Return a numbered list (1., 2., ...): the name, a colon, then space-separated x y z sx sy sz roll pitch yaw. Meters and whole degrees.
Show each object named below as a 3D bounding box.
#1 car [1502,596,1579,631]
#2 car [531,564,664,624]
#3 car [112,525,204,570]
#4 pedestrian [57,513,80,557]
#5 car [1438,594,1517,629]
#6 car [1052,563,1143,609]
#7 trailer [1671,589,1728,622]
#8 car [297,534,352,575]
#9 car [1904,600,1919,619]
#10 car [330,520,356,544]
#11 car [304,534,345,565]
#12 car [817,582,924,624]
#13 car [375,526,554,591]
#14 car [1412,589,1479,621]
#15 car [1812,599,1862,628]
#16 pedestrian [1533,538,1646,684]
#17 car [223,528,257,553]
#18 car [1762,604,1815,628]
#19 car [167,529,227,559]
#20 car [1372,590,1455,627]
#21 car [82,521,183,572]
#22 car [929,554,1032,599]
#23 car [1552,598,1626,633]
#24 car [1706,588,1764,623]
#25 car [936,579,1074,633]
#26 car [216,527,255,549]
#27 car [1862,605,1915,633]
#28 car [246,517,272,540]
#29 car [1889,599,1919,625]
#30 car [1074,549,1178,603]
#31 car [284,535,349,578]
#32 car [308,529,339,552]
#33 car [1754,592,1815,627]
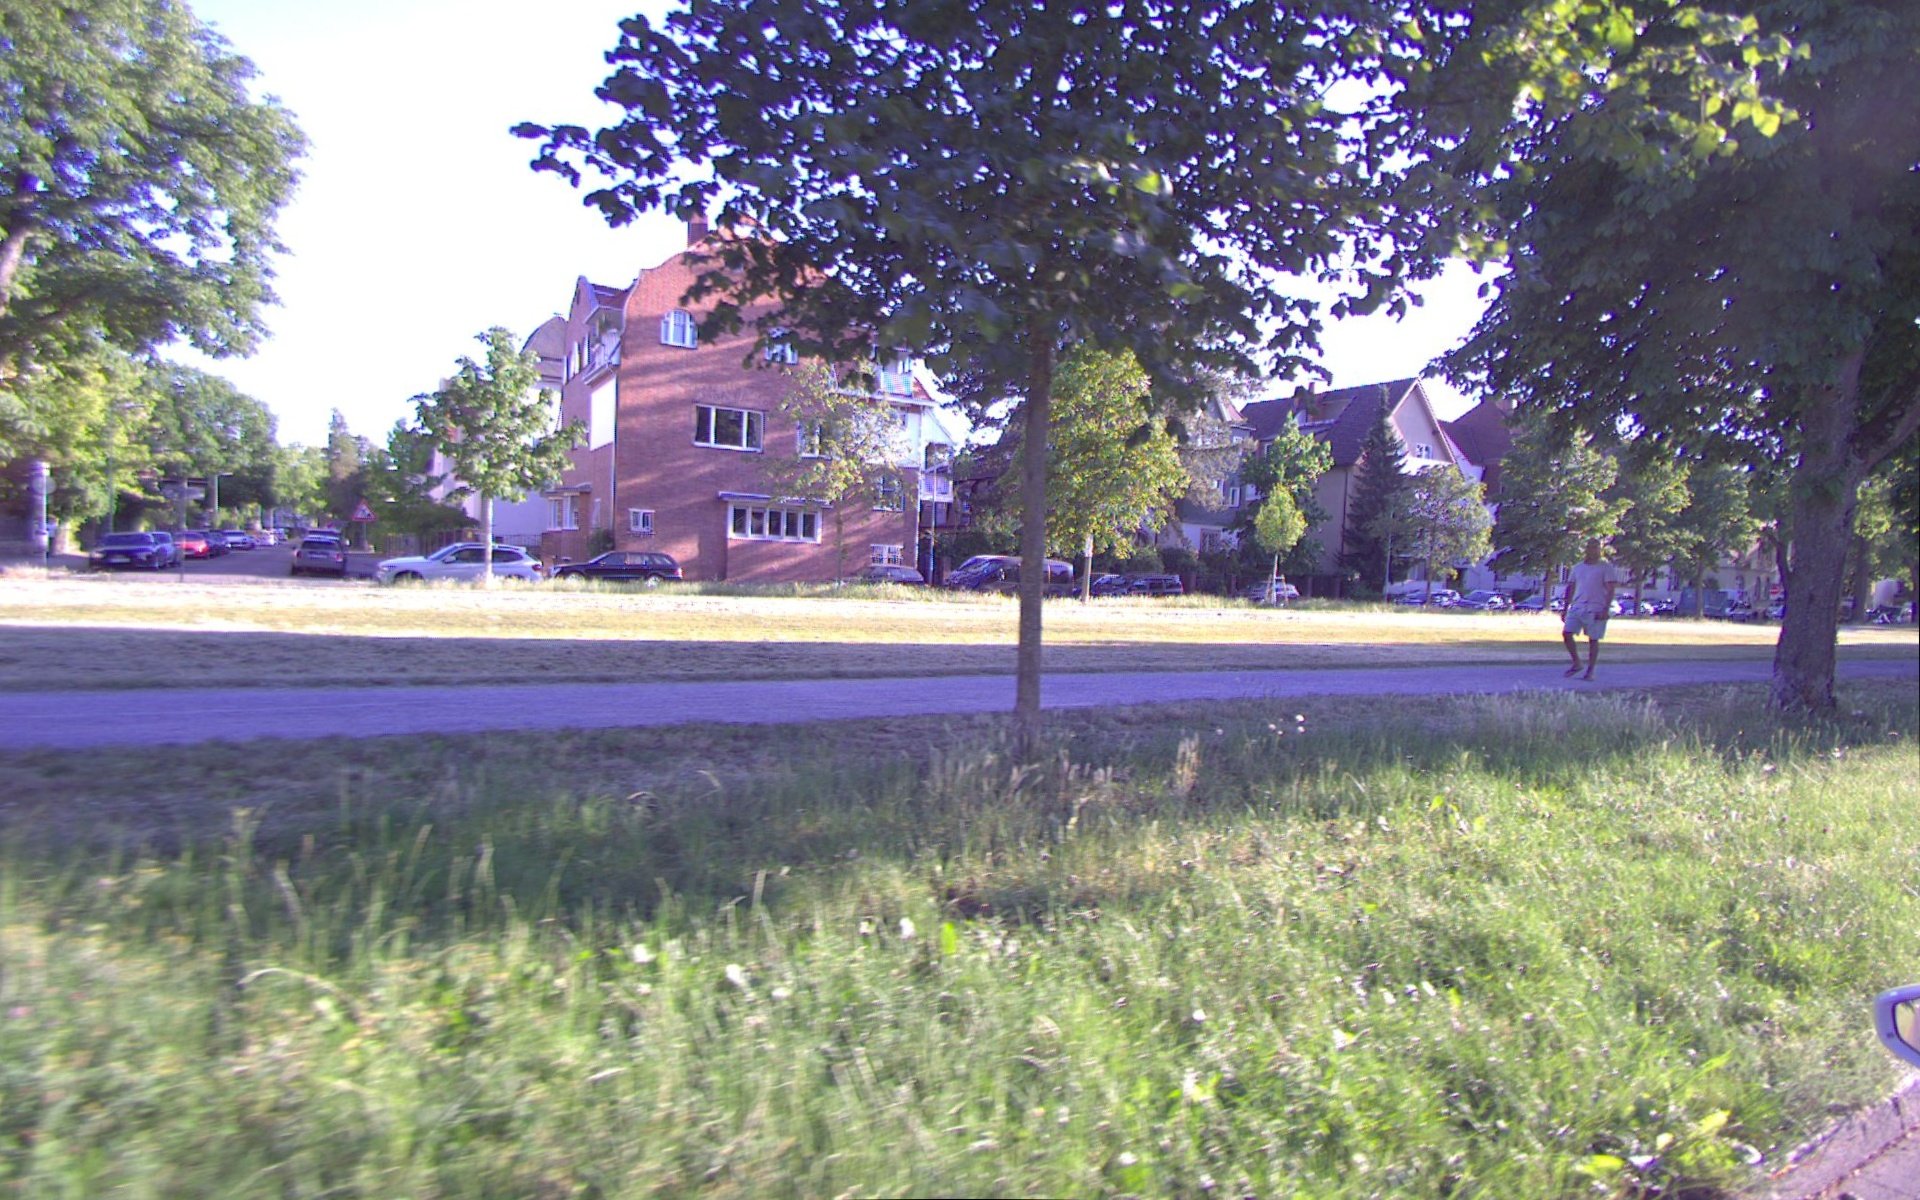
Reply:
1. car: 34.132 0.795 59.091 4.204 1.744 1.984 2 2 -30
2. car: -13.233 -0.200 36.731 4.317 2.041 1.748 1 2 -30
3. car: -32.882 -2.164 41.334 2.163 1.629 4.832 2 2 -29
4. pedestrian: -38.329 -2.806 43.162 0.689 1.831 0.859 1 3 -44
5. car: 28.941 0.655 56.207 3.951 1.706 1.985 2 2 -28
6. car: 6.704 -0.696 49.080 3.952 2.041 1.984 2 2 -29
7. trailer: 60.107 0.455 81.624 4.669 2.460 1.983 2 2 -30
8. car: -27.048 -1.952 42.835 1.815 1.595 3.876 2 2 -31
9. car: 105.447 1.051 109.912 4.433 2.040 1.984 0 -3 -31
10. car: -61.746 -6.785 100.529 1.980 2.208 3.960 1 3 -35
11. car: -36.072 -2.870 57.114 1.815 1.595 3.876 2 2 -31
12. car: -3.852 0.127 43.351 4.255 1.645 1.748 1 2 -30
13. car: -14.584 -1.213 29.661 4.597 1.661 1.809 2 2 -31
14. car: 31.019 0.343 64.160 3.957 1.807 1.982 2 2 -33
15. car: 71.719 1.099 82.114 4.263 2.205 1.676 1 3 -30
16. pedestrian: 8.011 0.133 12.801 0.979 1.781 0.722 1 2 -24
17. car: -58.857 -4.866 82.161 1.978 1.876 3.965 2 2 -31
18. car: 63.206 1.231 76.660 4.263 1.580 1.676 2 2 -30
19. car: -41.096 -3.024 54.192 1.976 1.506 3.968 2 2 -29
20. car: 24.242 0.457 53.672 3.951 1.706 1.985 2 2 -28
21. car: -29.945 -1.951 36.508 1.976 1.629 4.832 2 2 -29
22. car: 0.966 -1.071 45.929 4.357 1.862 1.807 2 2 -30
23. car: 38.794 0.974 61.949 4.204 1.885 1.984 2 2 -30
24. car: 65.484 0.457 84.876 5.126 2.708 1.983 2 2 -30
25. car: 1.811 0.260 39.689 5.184 1.967 1.984 1 2 -30
26. car: -53.390 -4.557 74.059 1.978 1.506 3.965 2 2 -31
27. car: 81.035 1.658 87.641 5.127 2.280 1.983 2 2 -31
28. car: -67.330 -6.905 96.494 1.980 2.041 3.960 1 3 -35
29. car: 87.500 1.115 91.655 5.395 2.266 2.522 1 2 -30
30. car: 7.122 -1.015 43.074 3.954 2.041 1.983 2 4 -31
31. car: -25.003 -1.705 39.142 1.843 1.506 3.968 2 2 -29
32. car: -48.409 -4.501 76.462 1.815 1.595 3.876 2 2 -31
33. car: 74.190 0.885 90.379 5.751 2.961 2.425 2 0 -31
